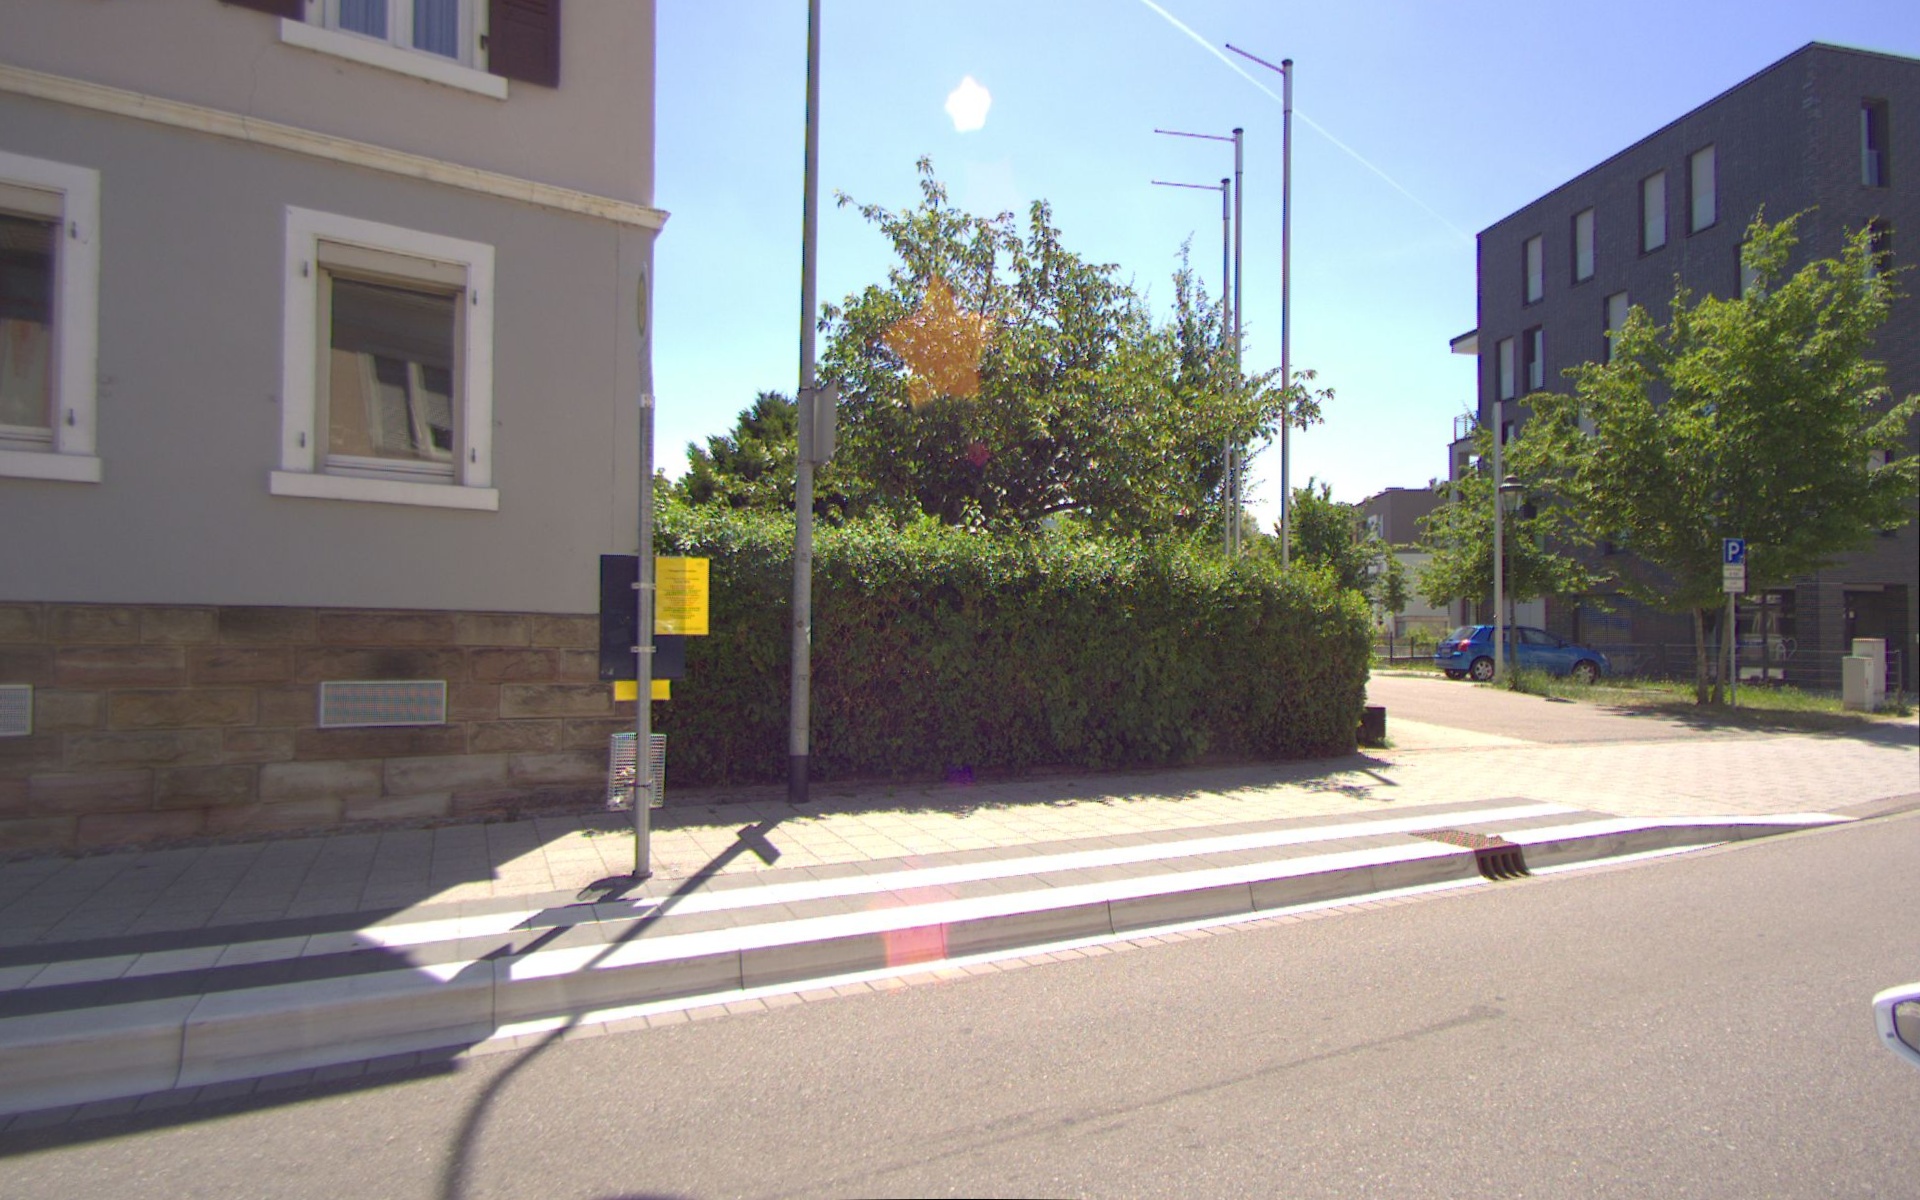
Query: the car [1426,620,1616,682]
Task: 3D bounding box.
[{"bbox_3d":[14.569,1.329,26.242,3.998,1.505,1.701,1,-3,3],"label":"car"}]
